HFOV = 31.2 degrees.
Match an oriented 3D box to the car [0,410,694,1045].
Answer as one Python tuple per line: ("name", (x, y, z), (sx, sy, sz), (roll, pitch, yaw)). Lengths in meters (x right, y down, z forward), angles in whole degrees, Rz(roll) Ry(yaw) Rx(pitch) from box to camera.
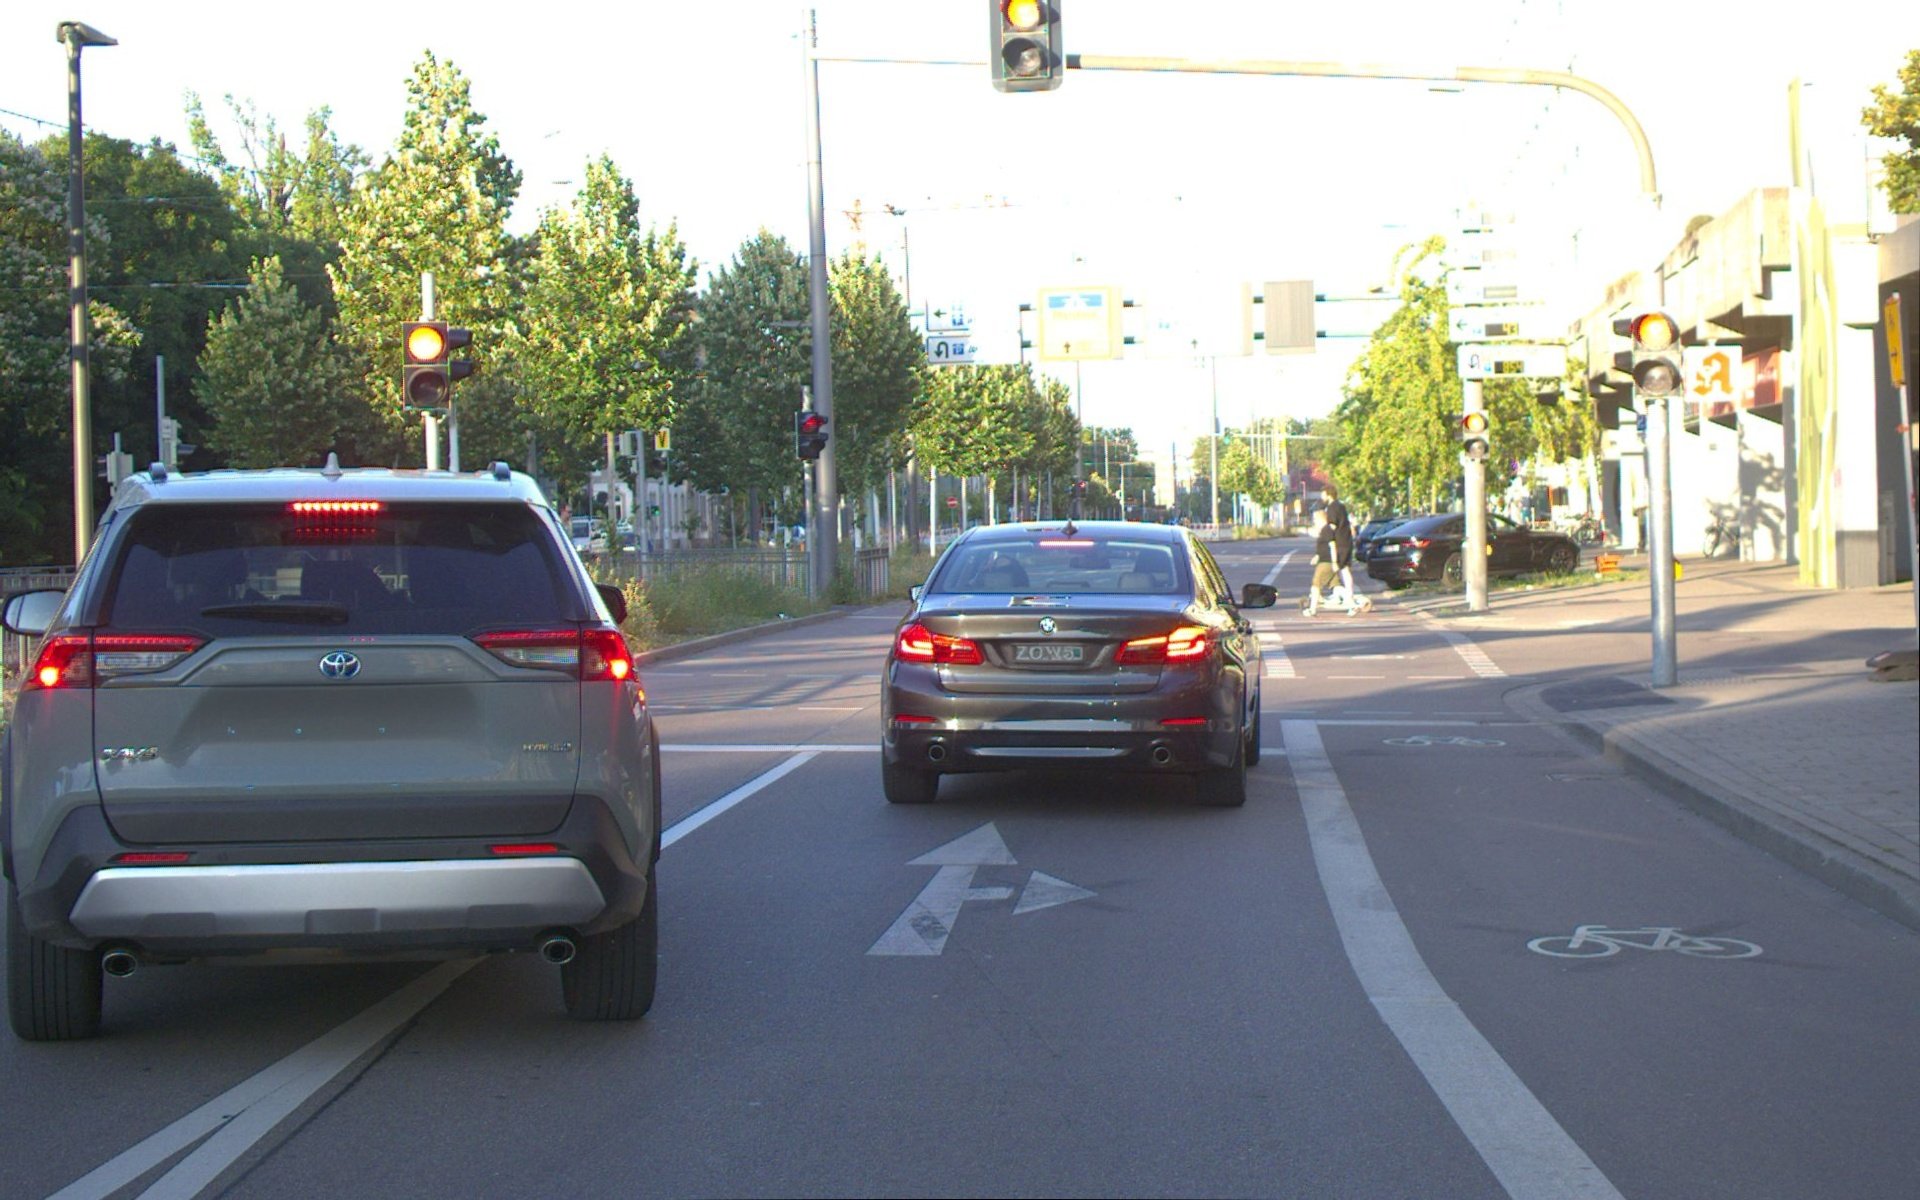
("car", (-2.024, 0.230, 11.185), (1.854, 1.653, 4.270), (0, 3, -11))

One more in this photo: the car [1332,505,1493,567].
("car", (12.751, -1.814, 96.798), (4.254, 1.653, 1.861), (-2, 3, -31))

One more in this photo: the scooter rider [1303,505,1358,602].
("scooter rider", (5.853, -0.739, 54.305), (0.820, 1.509, 0.653), (-1, 1, 6))

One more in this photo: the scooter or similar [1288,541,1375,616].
("scooter or similar", (5.865, -0.341, 54.282), (1.329, 1.149, 0.513), (-1, 1, 6))

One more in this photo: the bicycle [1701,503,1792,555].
("bicycle", (18.341, -1.645, 80.194), (2.017, 1.145, 0.690), (2, 1, 10))

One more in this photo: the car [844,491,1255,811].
("car", (0.621, 0.171, 18.849), (1.932, 1.476, 4.522), (0, 3, 6))

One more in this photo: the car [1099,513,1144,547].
("car", (7.491, -3.239, 159.079), (1.979, 1.428, 4.843), (0, 3, 4))

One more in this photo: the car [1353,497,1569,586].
("car", (10.016, -1.196, 68.600), (4.256, 1.653, 1.860), (-2, 3, -38))

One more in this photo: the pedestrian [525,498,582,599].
("pedestrian", (-6.945, -0.880, 58.795), (0.835, 1.706, 0.647), (-1, 1, 3))

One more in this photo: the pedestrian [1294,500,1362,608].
("pedestrian", (5.532, -0.693, 51.605), (0.835, 1.581, 0.811), (-1, 1, 18))
